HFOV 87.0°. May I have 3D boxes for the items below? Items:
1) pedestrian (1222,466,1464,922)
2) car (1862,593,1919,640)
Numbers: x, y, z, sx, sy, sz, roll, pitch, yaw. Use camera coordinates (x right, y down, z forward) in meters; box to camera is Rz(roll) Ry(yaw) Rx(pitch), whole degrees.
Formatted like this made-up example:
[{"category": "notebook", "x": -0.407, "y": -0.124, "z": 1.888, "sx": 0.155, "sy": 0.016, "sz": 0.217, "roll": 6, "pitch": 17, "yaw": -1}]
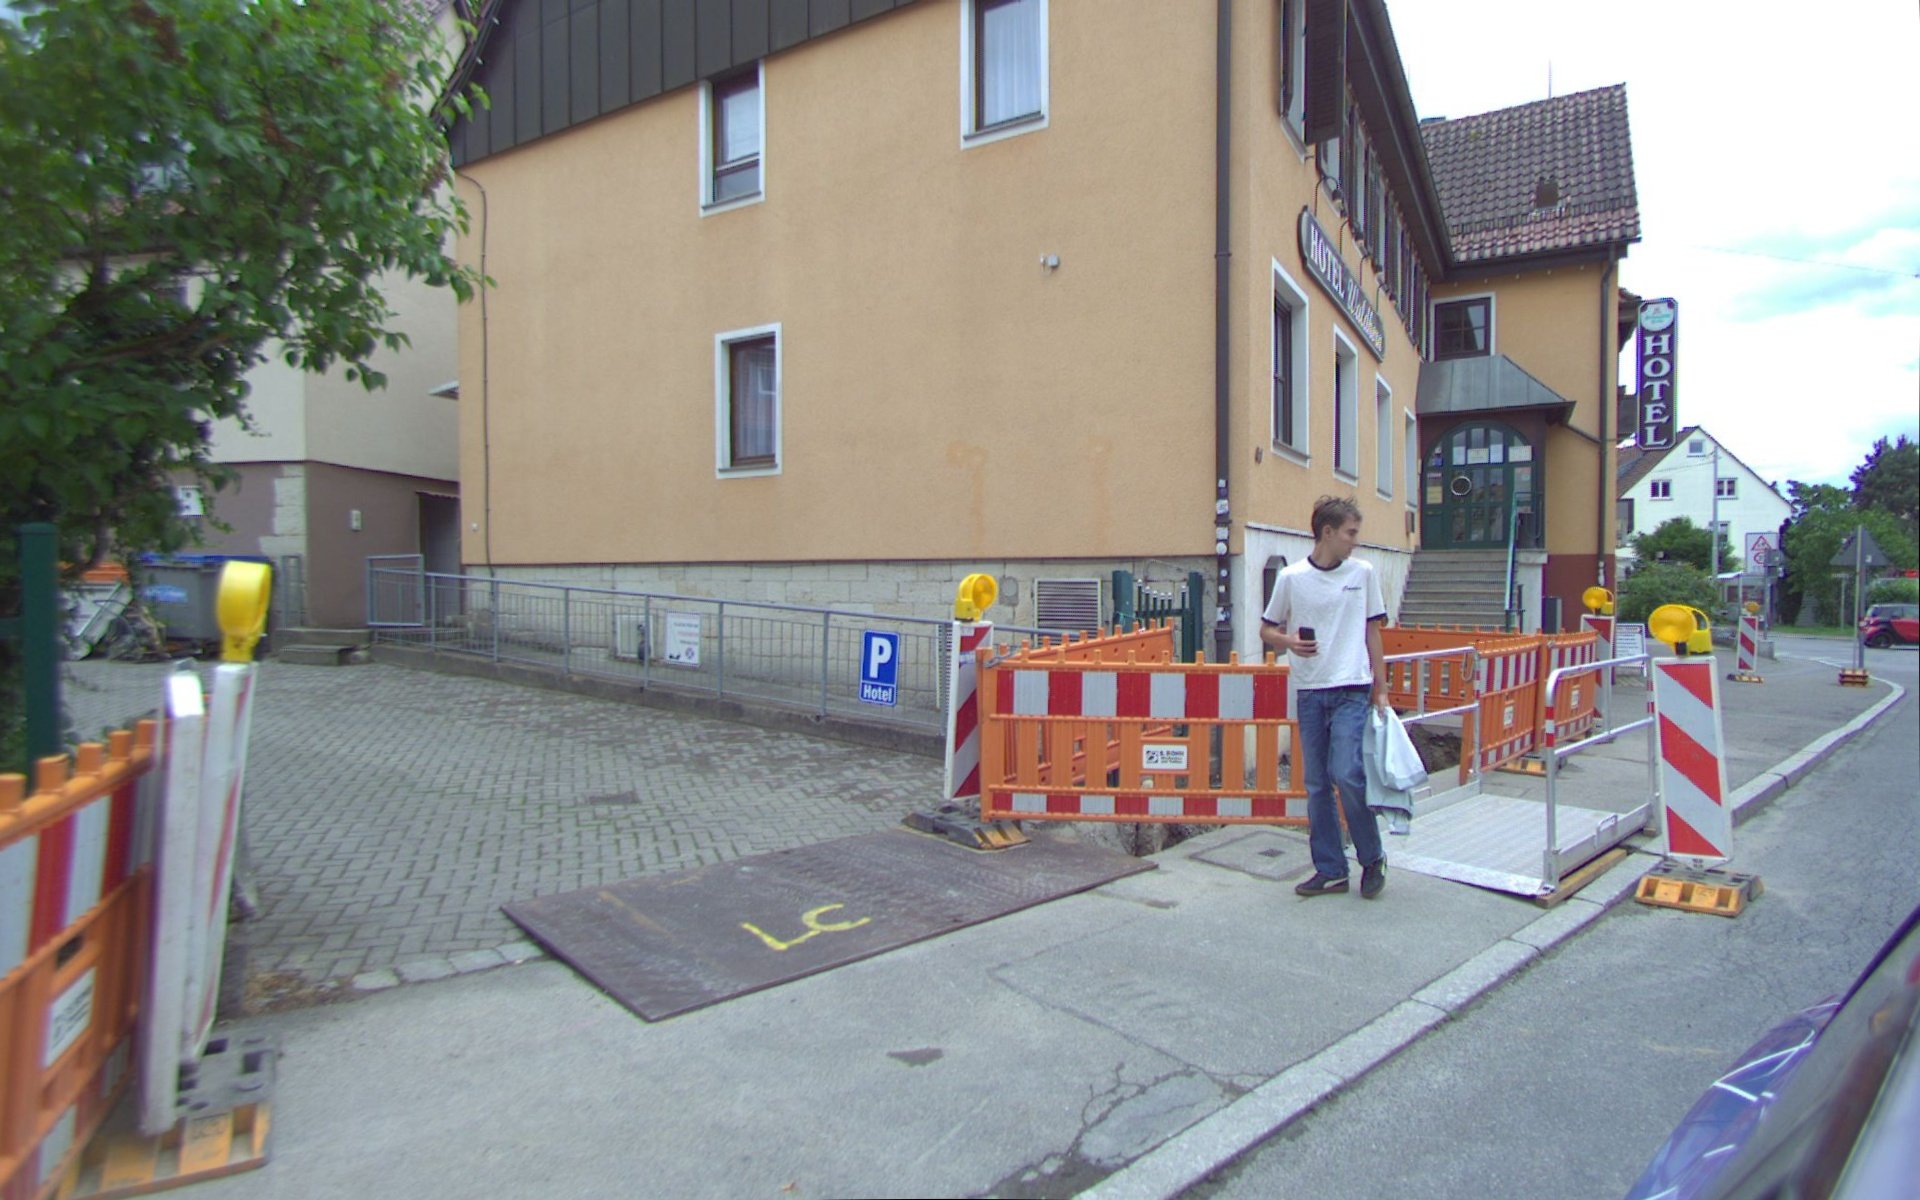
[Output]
[{"category": "pedestrian", "x": 1.875, "y": 0.399, "z": 4.959, "sx": 0.822, "sy": 1.974, "sz": 0.799, "roll": 1, "pitch": 0, "yaw": -43}, {"category": "car", "x": 32.753, "y": 0.585, "z": 34.341, "sx": 2.918, "sy": 1.539, "sz": 1.799, "roll": 2, "pitch": 1, "yaw": 33}]
